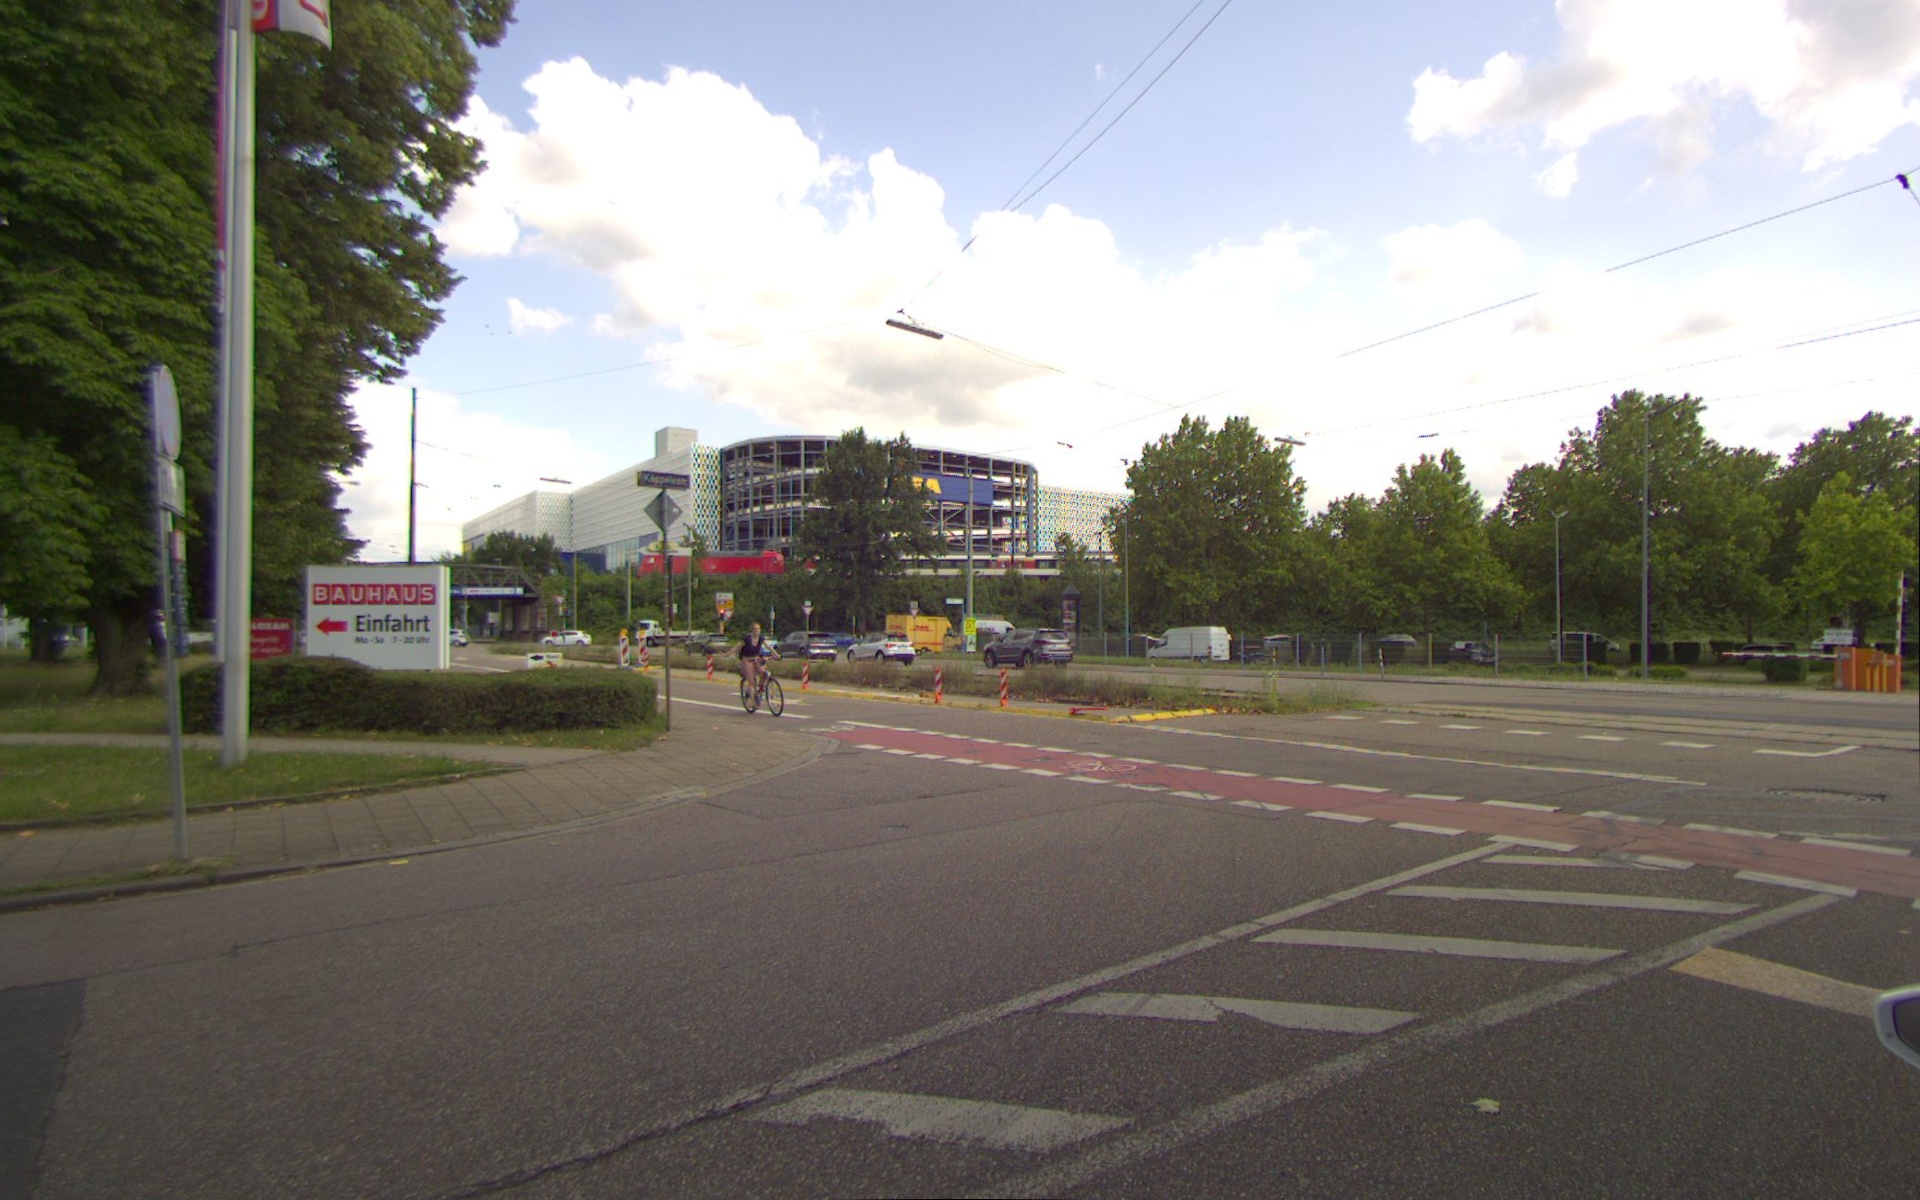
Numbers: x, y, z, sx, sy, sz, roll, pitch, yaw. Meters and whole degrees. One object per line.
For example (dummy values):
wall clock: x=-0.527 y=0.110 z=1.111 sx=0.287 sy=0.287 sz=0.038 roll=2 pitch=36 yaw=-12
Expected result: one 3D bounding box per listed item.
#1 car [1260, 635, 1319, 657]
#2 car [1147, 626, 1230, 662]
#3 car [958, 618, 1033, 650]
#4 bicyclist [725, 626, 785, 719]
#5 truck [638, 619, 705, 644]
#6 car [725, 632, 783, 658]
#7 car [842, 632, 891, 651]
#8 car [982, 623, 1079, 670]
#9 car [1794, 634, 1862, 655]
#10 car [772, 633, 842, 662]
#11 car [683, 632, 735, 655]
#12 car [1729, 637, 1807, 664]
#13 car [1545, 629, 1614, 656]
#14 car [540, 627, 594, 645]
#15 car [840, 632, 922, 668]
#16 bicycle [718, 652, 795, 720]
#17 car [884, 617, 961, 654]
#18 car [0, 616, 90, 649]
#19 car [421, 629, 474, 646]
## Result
car: x=27.053 y=3.770 z=82.503 sx=4.181 sy=1.706 sz=1.999 roll=0 pitch=-1 yaw=-4
car: x=14.555 y=2.792 z=64.355 sx=1.782 sy=2.240 sz=5.244 roll=1 pitch=-2 yaw=-39
car: x=2.801 y=2.714 z=80.434 sx=5.795 sy=2.474 sz=2.211 roll=0 pitch=-1 yaw=-2
bicyclist: x=-3.860 y=1.343 z=18.909 sx=0.727 sy=1.669 sz=1.000 roll=-1 pitch=-1 yaw=-37
truck: x=-26.754 y=2.942 z=93.172 sx=5.626 sy=2.319 sz=2.033 roll=0 pitch=-1 yaw=-4
car: x=-12.104 y=2.630 z=58.976 sx=1.782 sy=1.424 sz=3.987 roll=1 pitch=-2 yaw=-38
car: x=-7.724 y=3.390 z=83.027 sx=3.923 sy=1.532 sz=1.920 roll=0 pitch=-1 yaw=-3
car: x=2.888 y=1.910 z=42.214 sx=1.947 sy=1.839 sz=4.238 roll=0 pitch=-1 yaw=-33
car: x=73.740 y=3.751 z=85.401 sx=4.217 sy=1.744 sz=1.920 roll=0 pitch=-1 yaw=-3
car: x=-8.195 y=2.506 z=53.538 sx=1.907 sy=1.424 sz=4.189 roll=1 pitch=-2 yaw=-38
car: x=-15.944 y=2.733 z=63.618 sx=1.782 sy=1.424 sz=3.987 roll=1 pitch=-2 yaw=-38
car: x=54.132 y=3.375 z=67.400 sx=1.873 sy=1.724 sz=3.998 roll=0 pitch=-1 yaw=-4
car: x=50.057 y=3.436 z=81.169 sx=4.482 sy=2.164 sz=1.860 roll=0 pitch=-1 yaw=-4
car: x=-34.109 y=3.100 z=87.307 sx=3.923 sy=1.577 sz=1.874 roll=0 pitch=-1 yaw=-3
car: x=-3.789 y=2.340 z=47.562 sx=1.907 sy=1.600 sz=4.189 roll=1 pitch=-2 yaw=-38
bicycle: x=-3.843 y=1.591 z=18.895 sx=0.723 sy=1.181 sz=1.797 roll=-1 pitch=-2 yaw=-36
car: x=-2.685 y=2.625 z=73.734 sx=2.171 sy=2.612 sz=6.381 roll=-1 pitch=-2 yaw=37
car: x=-71.842 y=2.527 z=78.345 sx=5.795 sy=2.474 sz=2.366 roll=0 pitch=-1 yaw=-2
car: x=-46.629 y=3.414 z=91.410 sx=3.834 sy=1.523 sz=1.874 roll=0 pitch=-1 yaw=-3
